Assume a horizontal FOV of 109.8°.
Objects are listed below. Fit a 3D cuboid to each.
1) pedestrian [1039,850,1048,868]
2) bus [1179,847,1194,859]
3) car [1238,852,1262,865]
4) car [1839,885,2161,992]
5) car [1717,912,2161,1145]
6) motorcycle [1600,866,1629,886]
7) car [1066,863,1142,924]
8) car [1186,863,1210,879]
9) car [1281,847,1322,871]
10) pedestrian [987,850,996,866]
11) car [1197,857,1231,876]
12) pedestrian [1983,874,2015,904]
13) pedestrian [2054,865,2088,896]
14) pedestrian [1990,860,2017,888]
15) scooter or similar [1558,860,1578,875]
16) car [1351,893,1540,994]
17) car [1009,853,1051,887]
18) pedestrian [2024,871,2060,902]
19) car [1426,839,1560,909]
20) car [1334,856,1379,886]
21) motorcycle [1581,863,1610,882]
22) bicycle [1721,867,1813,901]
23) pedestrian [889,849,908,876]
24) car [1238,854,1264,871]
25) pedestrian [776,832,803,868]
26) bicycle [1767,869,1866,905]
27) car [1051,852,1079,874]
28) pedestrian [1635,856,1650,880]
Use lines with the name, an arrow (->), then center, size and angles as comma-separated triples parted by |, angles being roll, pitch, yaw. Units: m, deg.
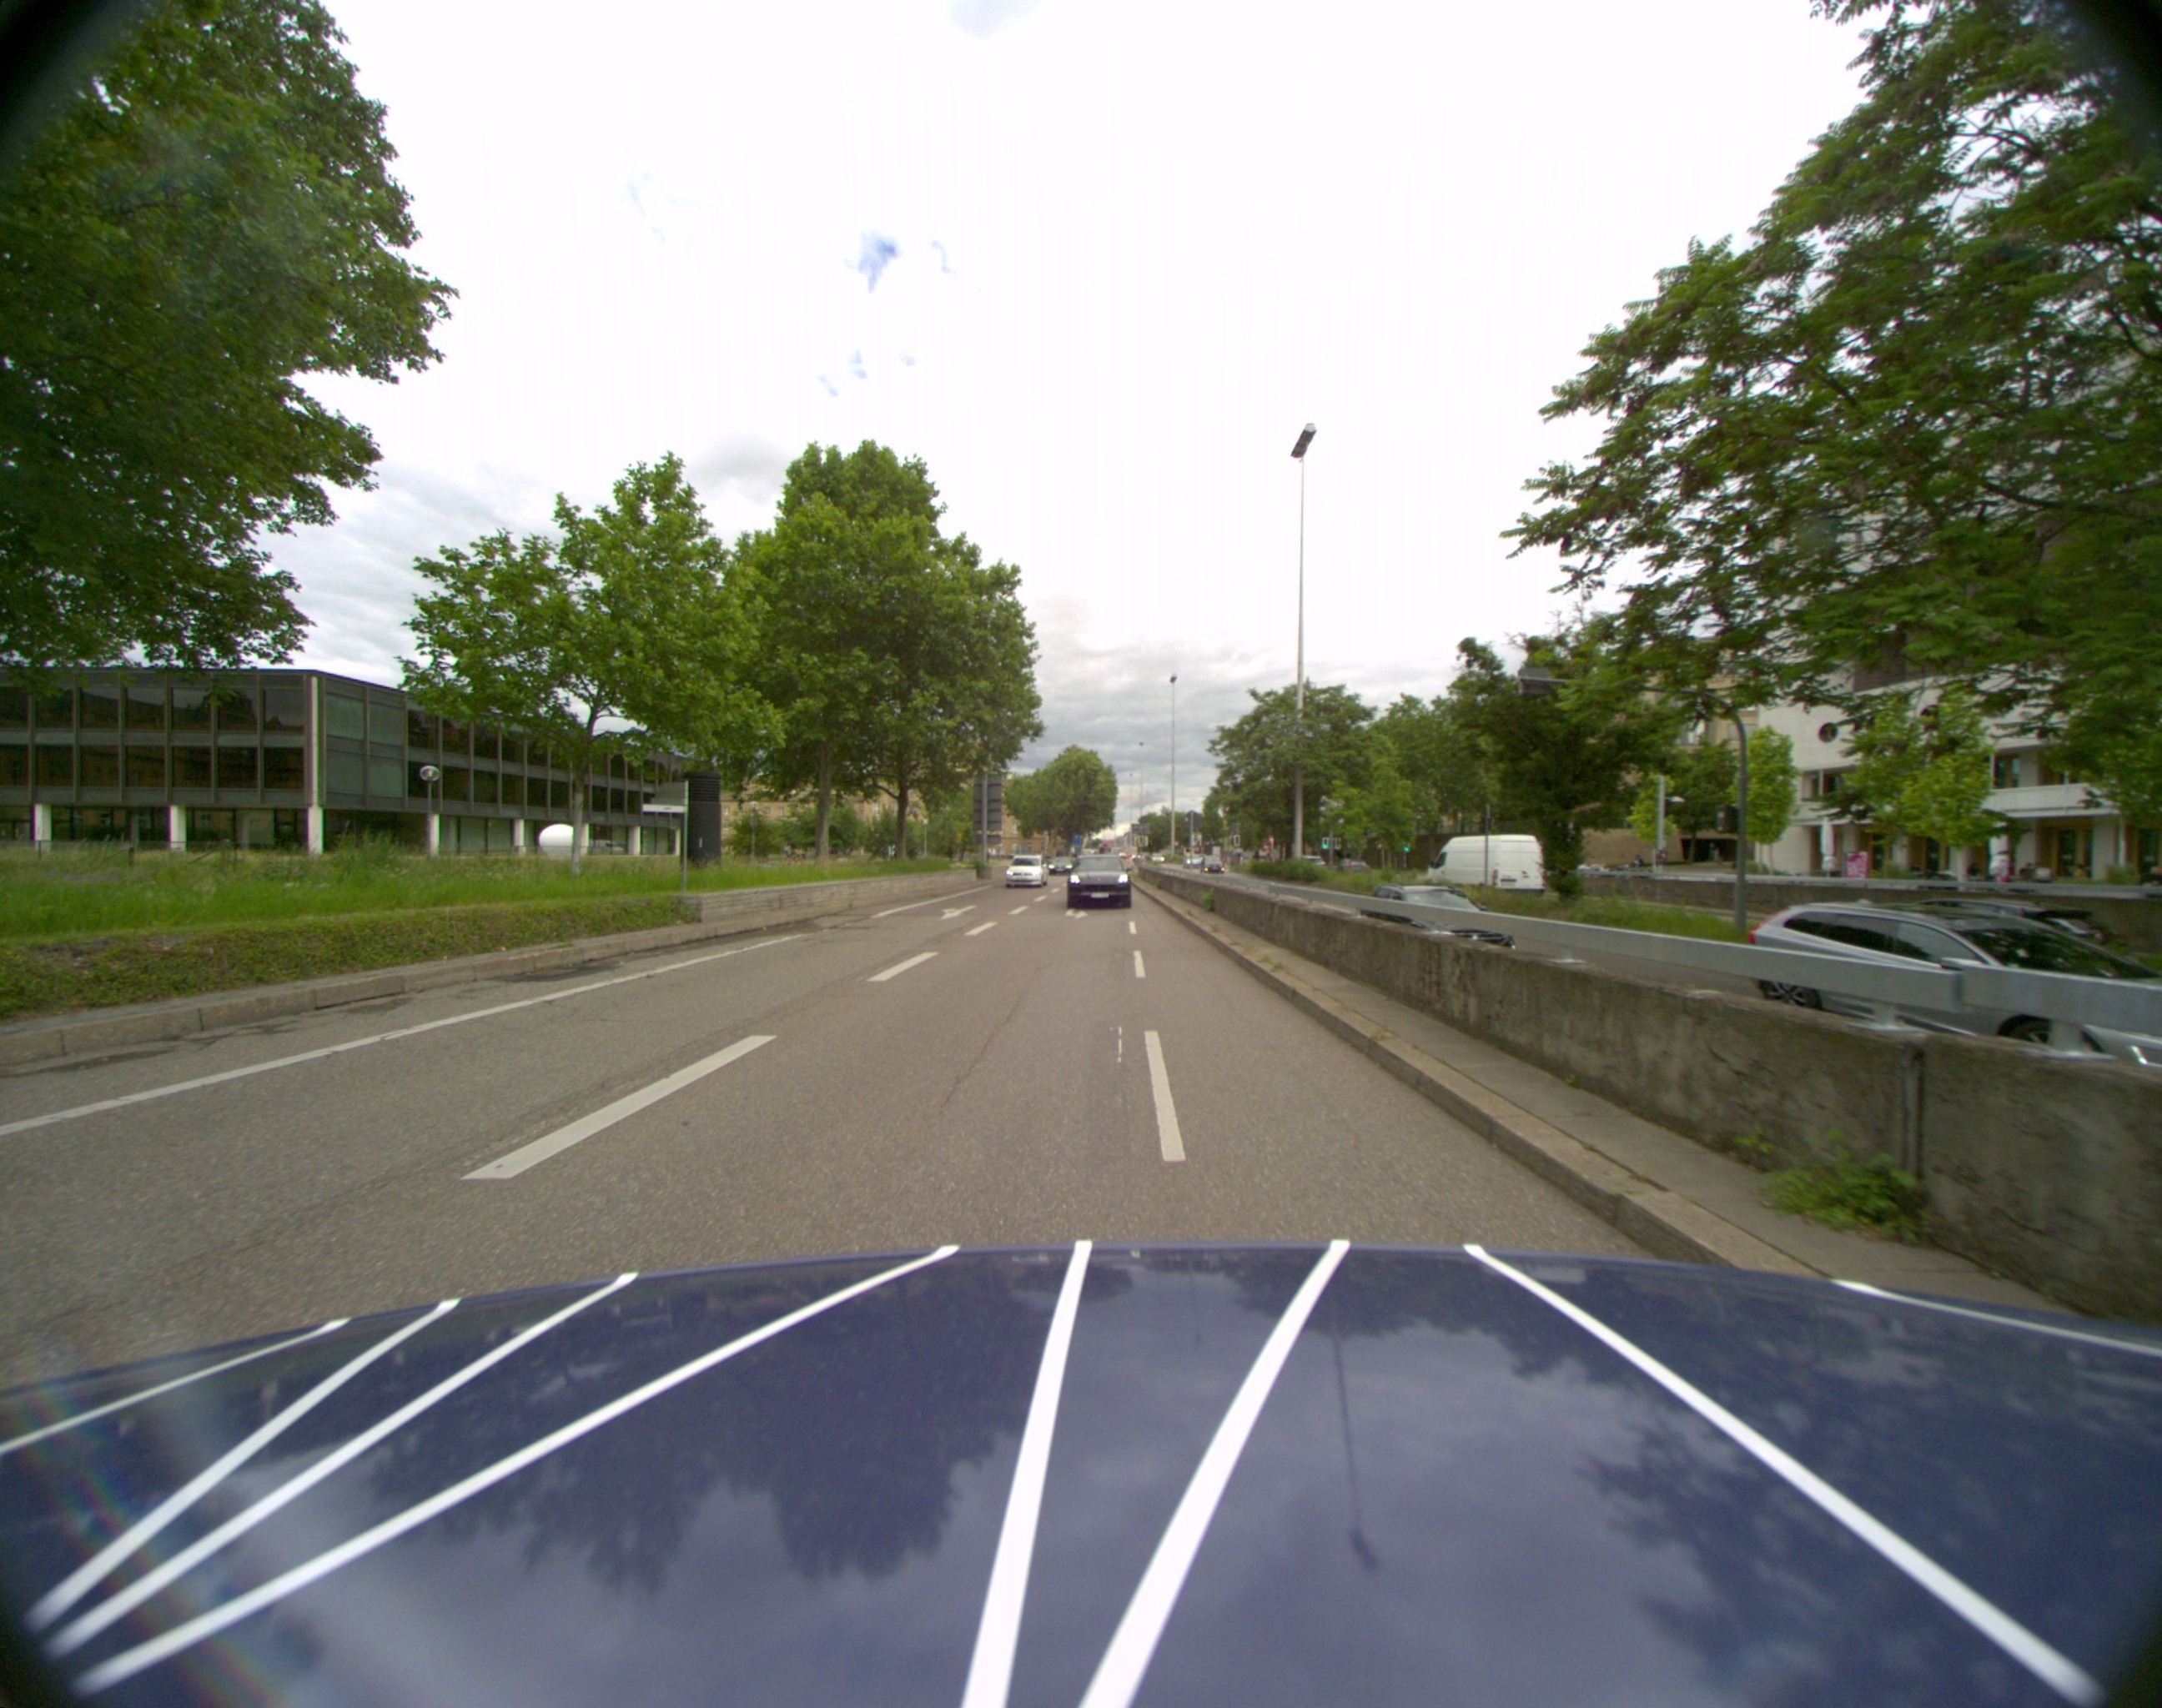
pedestrian -> -3.559, 0.499, 72.468 | 0.699, 1.646, 0.684 | -2, 1, 1
bus -> 30.013, -0.261, 215.930 | 2.919, 3.286, 10.449 | 1, 0, 1
car -> 20.817, 0.554, 93.758 | 1.761, 1.453, 3.998 | -2, 1, -4
car -> 17.396, 1.461, 14.435 | 1.906, 1.478, 3.998 | -2, 1, -2
car -> 10.453, 1.701, 8.953 | 1.998, 1.607, 4.738 | 0, 1, 1
motorcycle -> 35.202, 1.452, 50.140 | 1.892, 1.227, 0.657 | 1, 3, -23
car -> 0.607, 1.120, 23.555 | 2.062, 1.616, 4.600 | -1, 0, -2
car -> 12.321, 1.770, 80.234 | 1.998, 1.636, 4.000 | -1, 0, 1
car -> 16.804, 0.357, 58.016 | 1.861, 1.707, 4.446 | 1, 0, 1
pedestrian -> -8.969, 0.394, 76.101 | 0.803, 1.617, 0.626 | 1, 0, 9
car -> 11.113, 1.022, 63.780 | 1.998, 1.474, 4.809 | 0, 0, 0
pedestrian -> 42.174, 1.615, 34.904 | 0.649, 1.319, 0.636 | 6, 0, 29
pedestrian -> 43.716, 1.180, 33.550 | 0.649, 1.319, 0.636 | 5, -1, 27
pedestrian -> 44.218, 0.959, 36.429 | 0.520, 1.320, 0.565 | 1, 2, 2
scooter or similar -> 44.064, 1.208, 68.727 | 1.418, 1.333, 0.538 | 0, 1, 2
car -> 7.267, 1.714, 15.669 | 1.767, 1.507, 4.151 | -1, 1, -2
car -> -2.566, 0.771, 39.143 | 1.695, 1.585, 4.000 | 0, 1, 3
pedestrian -> 42.674, 1.437, 33.740 | 0.788, 1.319, 0.671 | 0, 1, 29
car -> 17.111, 0.719, 32.026 | 2.330, 2.511, 6.055 | -2, 2, 0
car -> 20.359, 1.211, 56.280 | 1.998, 2.002, 4.000 | -2, 1, 2
motorcycle -> 34.916, 1.253, 51.535 | 1.892, 1.227, 0.657 | 1, 3, -23
bicycle -> 35.492, 1.543, 39.348 | 3.622, 1.674, 1.183 | 1, 0, 0
pedestrian -> -11.721, 0.556, 48.897 | 0.898, 1.722, 0.969 | -2, 1, 2
car -> 18.385, 0.900, 82.245 | 1.861, 1.707, 4.445 | 1, 0, 0
pedestrian -> -15.287, -0.220, 39.825 | 1.031, 1.826, 0.997 | -3, 2, -39
bicycle -> 35.749, 1.595, 36.952 | 3.622, 1.674, 1.183 | 1, 0, 0
car -> -1.312, 0.702, 60.490 | 2.062, 1.616, 4.600 | -1, 0, -2
pedestrian -> 36.291, 0.916, 49.117 | 0.884, 1.548, 0.596 | 0, 1, -41
